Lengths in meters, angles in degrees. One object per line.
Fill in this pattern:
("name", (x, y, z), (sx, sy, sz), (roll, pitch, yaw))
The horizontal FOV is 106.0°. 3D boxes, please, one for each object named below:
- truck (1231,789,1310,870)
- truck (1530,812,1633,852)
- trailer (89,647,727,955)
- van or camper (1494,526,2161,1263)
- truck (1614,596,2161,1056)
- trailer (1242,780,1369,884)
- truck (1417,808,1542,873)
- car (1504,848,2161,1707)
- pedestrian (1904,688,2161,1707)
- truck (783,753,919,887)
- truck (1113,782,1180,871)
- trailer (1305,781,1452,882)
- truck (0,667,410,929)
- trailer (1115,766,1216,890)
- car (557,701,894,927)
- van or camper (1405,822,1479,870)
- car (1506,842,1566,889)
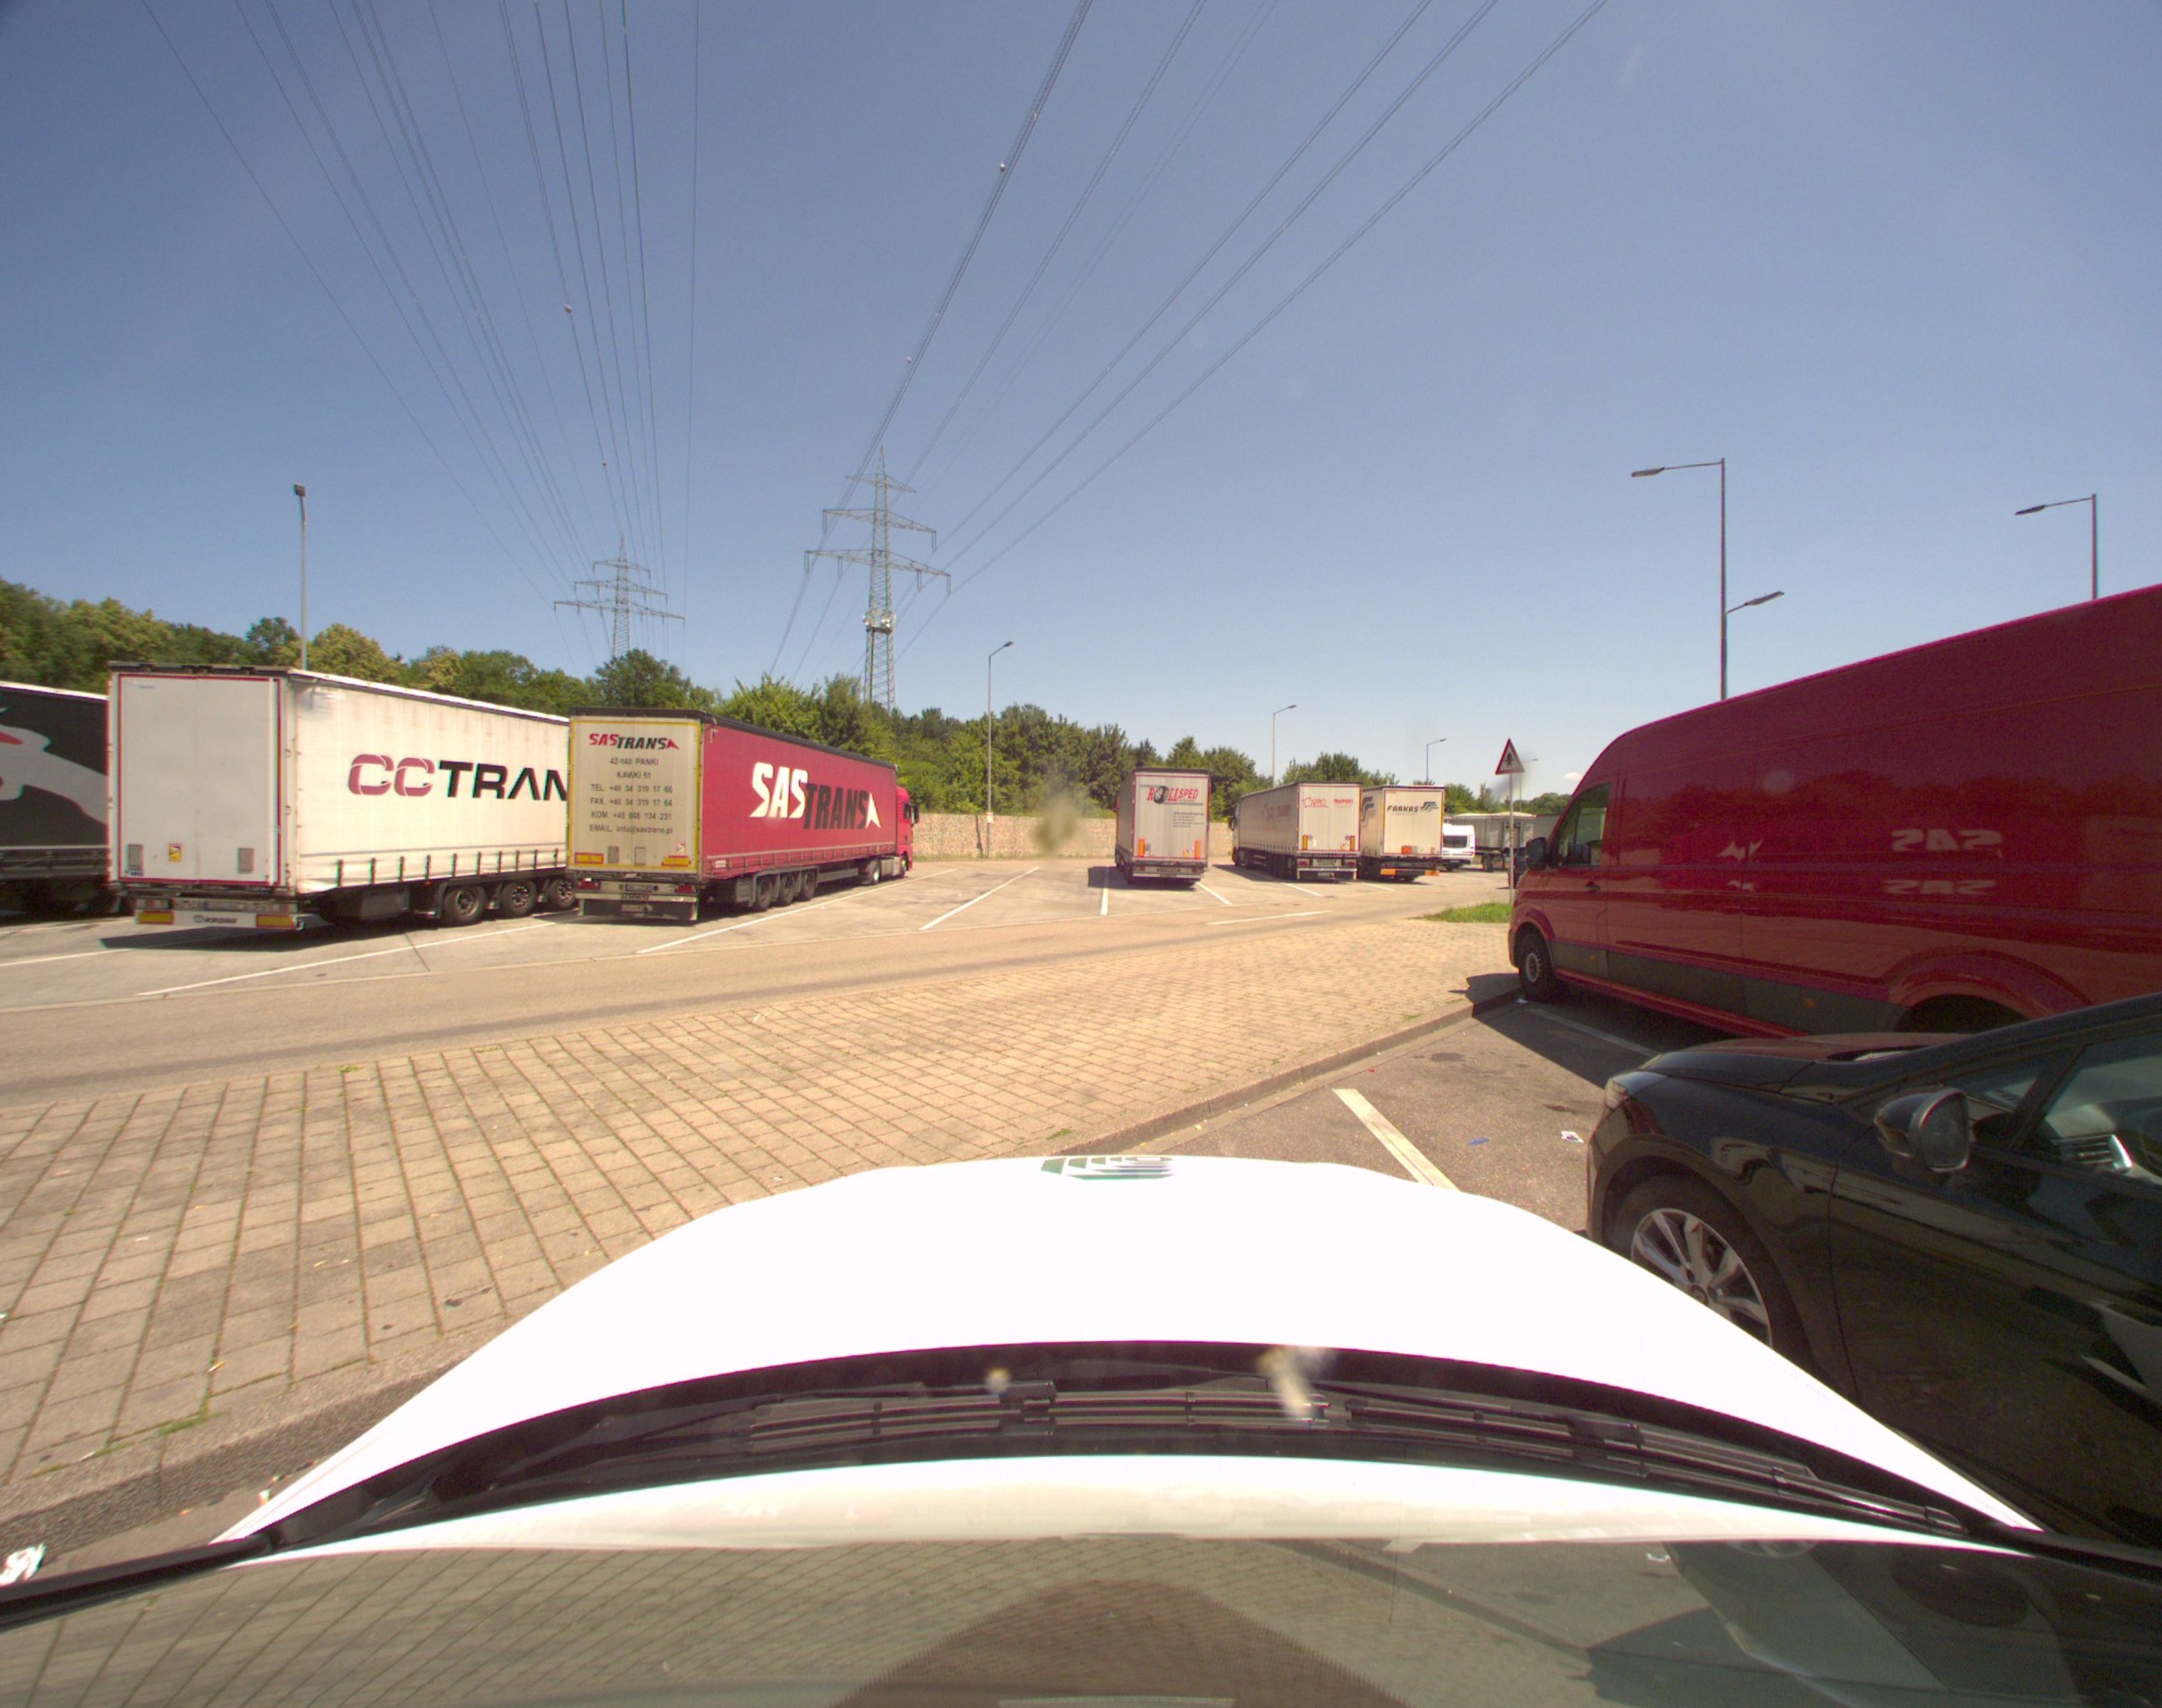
("truck", (10.184, -1.368, 44.550), (2.856, 4.037, 6.960), (0, 2, 2))
("truck", (38.037, -1.644, 62.397), (2.117, 2.820, 9.783), (-1, 1, 2))
("trailer", (-12.156, -0.976, 17.804), (2.803, 4.266, 12.947), (0, 2, 2))
("van or camper", (5.146, 0.100, 5.509), (1.986, 2.654, 6.490), (-1, 1, 6))
("truck", (7.947, -0.211, 7.081), (2.455, 2.792, 6.978), (0, 1, 4))
("trailer", (9.959, -1.104, 37.918), (2.856, 4.037, 12.445), (0, 2, 2))
("truck", (24.304, -0.957, 50.518), (2.478, 3.568, 11.429), (0, 2, 2))
("car", (2.463, 0.755, 1.157), (1.612, 1.483, 3.762), (-1, 1, -4))
("pedestrian", (1.378, 0.630, 0.723), (0.645, 1.586, 0.654), (-1, 1, -3))
("truck", (-7.744, -1.154, 28.364), (2.686, 4.112, 6.243), (1, 2, 2))
("truck", (3.143, -1.394, 40.833), (2.857, 4.037, 7.029), (0, 2, 1))
("trailer", (13.646, -1.123, 38.894), (2.856, 4.037, 12.445), (0, 2, 2))
("truck", (-18.611, -1.023, 16.284), (2.803, 4.190, 8.793), (0, 2, 2))
("trailer", (3.051, -1.104, 33.745), (2.857, 4.037, 14.244), (0, 2, 1))
("car", (-8.043, -0.935, 21.448), (2.686, 4.112, 12.943), (1, 2, 2))
("van or camper", (20.595, -0.466, 46.758), (2.096, 2.561, 5.376), (-1, 1, 3))
("car", (16.883, 0.376, 30.247), (1.824, 1.561, 3.974), (0, 1, 29))
